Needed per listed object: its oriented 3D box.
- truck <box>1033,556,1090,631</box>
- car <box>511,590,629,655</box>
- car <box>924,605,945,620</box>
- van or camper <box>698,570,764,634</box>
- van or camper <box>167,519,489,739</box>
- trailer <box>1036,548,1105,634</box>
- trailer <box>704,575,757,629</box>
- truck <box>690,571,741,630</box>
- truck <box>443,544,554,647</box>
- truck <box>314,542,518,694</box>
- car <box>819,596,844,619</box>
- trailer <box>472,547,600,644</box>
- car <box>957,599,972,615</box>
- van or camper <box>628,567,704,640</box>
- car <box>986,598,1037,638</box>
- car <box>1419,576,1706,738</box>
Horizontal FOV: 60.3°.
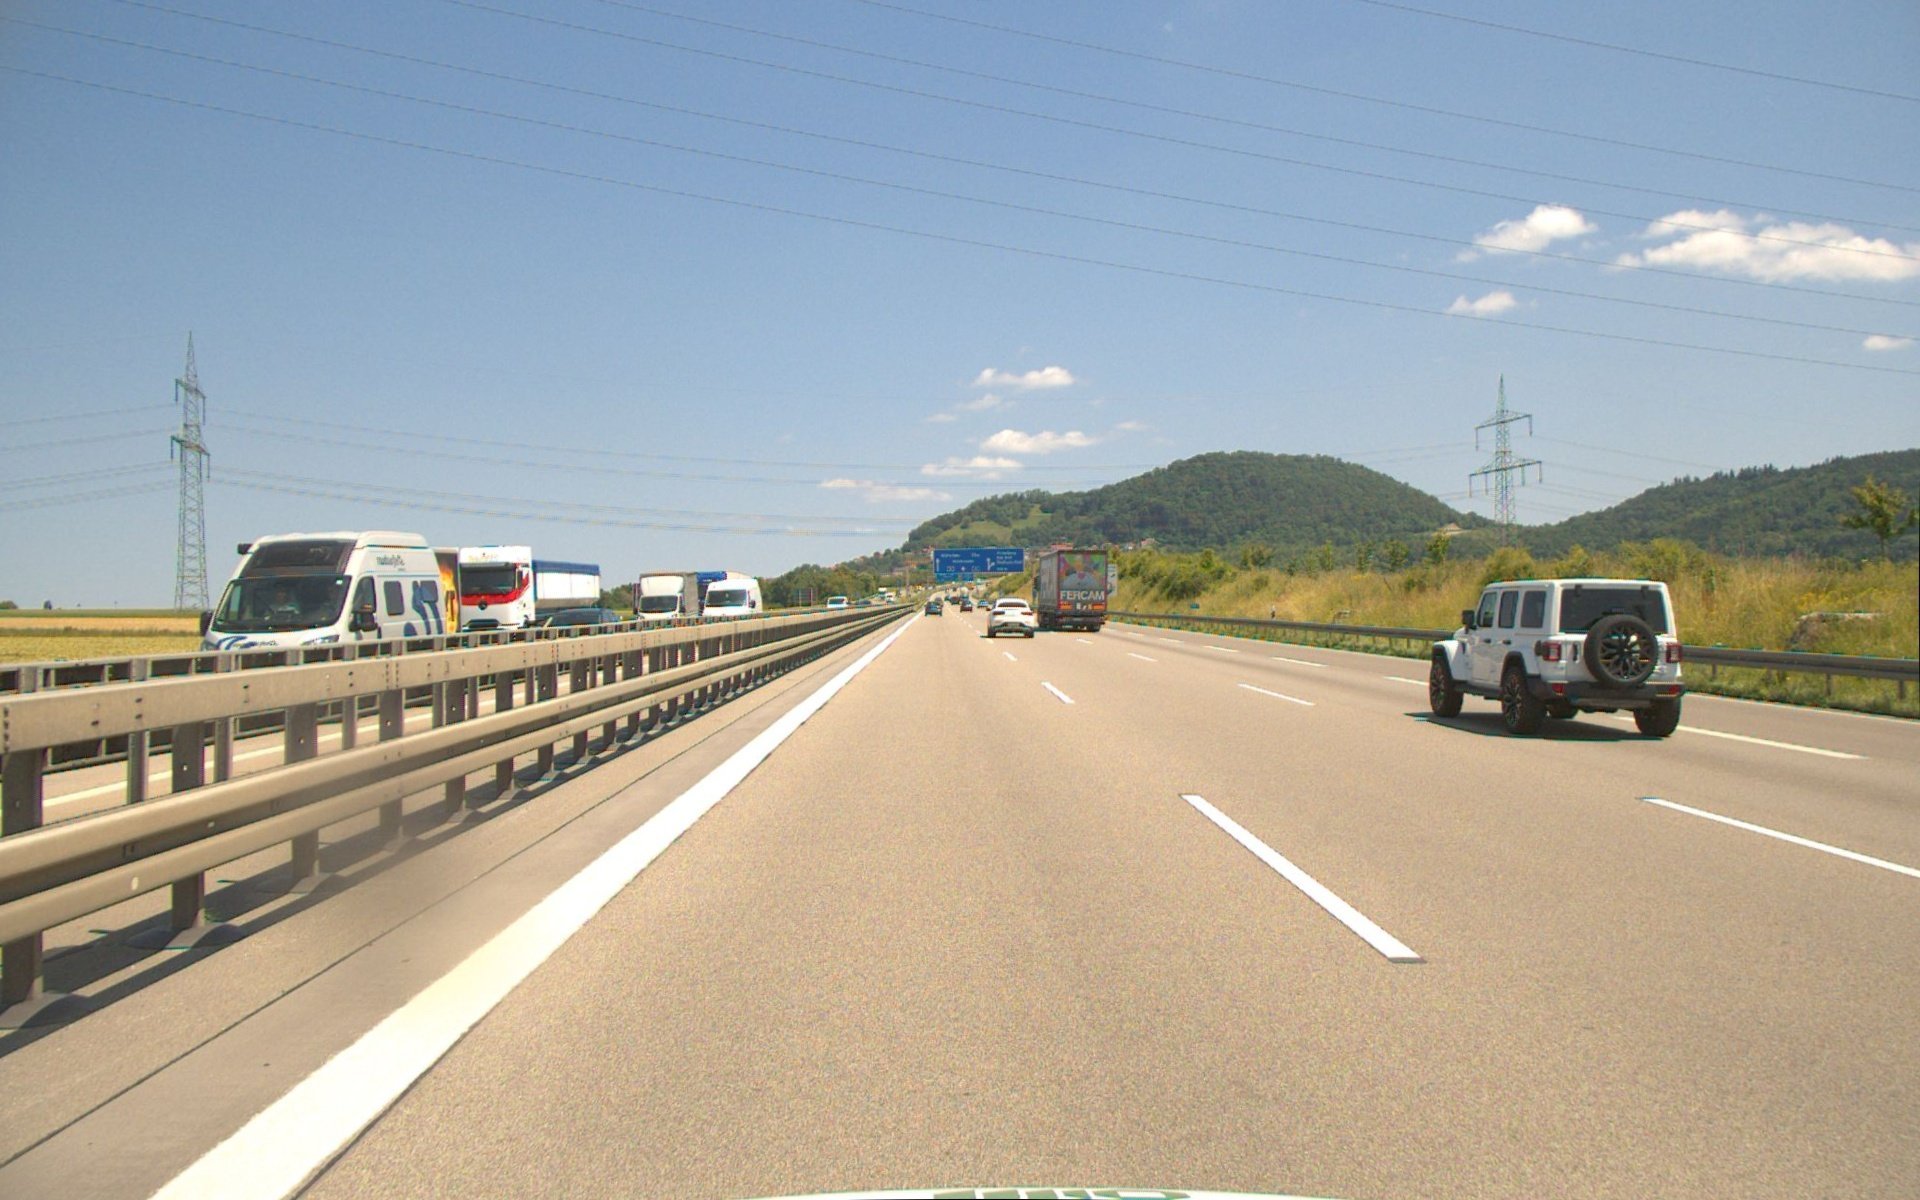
[{"bbox_3d":[5.721,-0.324,94.146,2.696,4.091,6.787,1,-1,0],"label":"truck"},{"bbox_3d":[-9.313,0.524,39.862,1.732,1.446,4.933,1,-1,-1],"label":"car"},{"bbox_3d":[-2.430,1.194,160.093,1.953,1.413,3.999,1,-1,0],"label":"car"},{"bbox_3d":[-9.932,0.118,72.110,2.080,2.620,6.120,1,-1,-1],"label":"van or camper"},{"bbox_3d":[-9.233,0.370,25.092,2.114,2.783,7.294,-2,0,-1],"label":"van or camper"},{"bbox_3d":[5.765,-0.393,88.094,2.670,4.228,11.805,1,-1,-1],"label":"trailer"},{"bbox_3d":[-18.350,0.174,133.027,2.775,4.117,11.662,1,-1,-1],"label":"trailer"},{"bbox_3d":[-18.160,0.071,123.414,2.763,4.161,7.529,1,-1,-1],"label":"truck"},{"bbox_3d":[-17.644,-0.145,63.656,2.663,3.755,6.054,1,-1,-2],"label":"truck"},{"bbox_3d":[-12.093,0.407,37.443,2.203,3.062,7.426,1,-1,-1],"label":"truck"},{"bbox_3d":[-12.039,0.704,155.317,1.944,2.045,4.648,-2,0,-1],"label":"car"},{"bbox_3d":[-17.777,-0.129,70.226,2.652,3.757,11.356,1,-1,-1],"label":"trailer"},{"bbox_3d":[0.604,0.932,217.845,1.953,2.049,3.999,1,-1,0],"label":"car"},{"bbox_3d":[-13.885,0.158,78.512,2.293,3.220,7.400,-2,0,-1],"label":"van or camper"},{"bbox_3d":[2.145,0.745,70.143,1.875,1.608,5.229,1,-1,-1],"label":"car"},{"bbox_3d":[7.503,0.629,21.098,1.993,1.836,4.249,1,1,-2],"label":"car"}]
